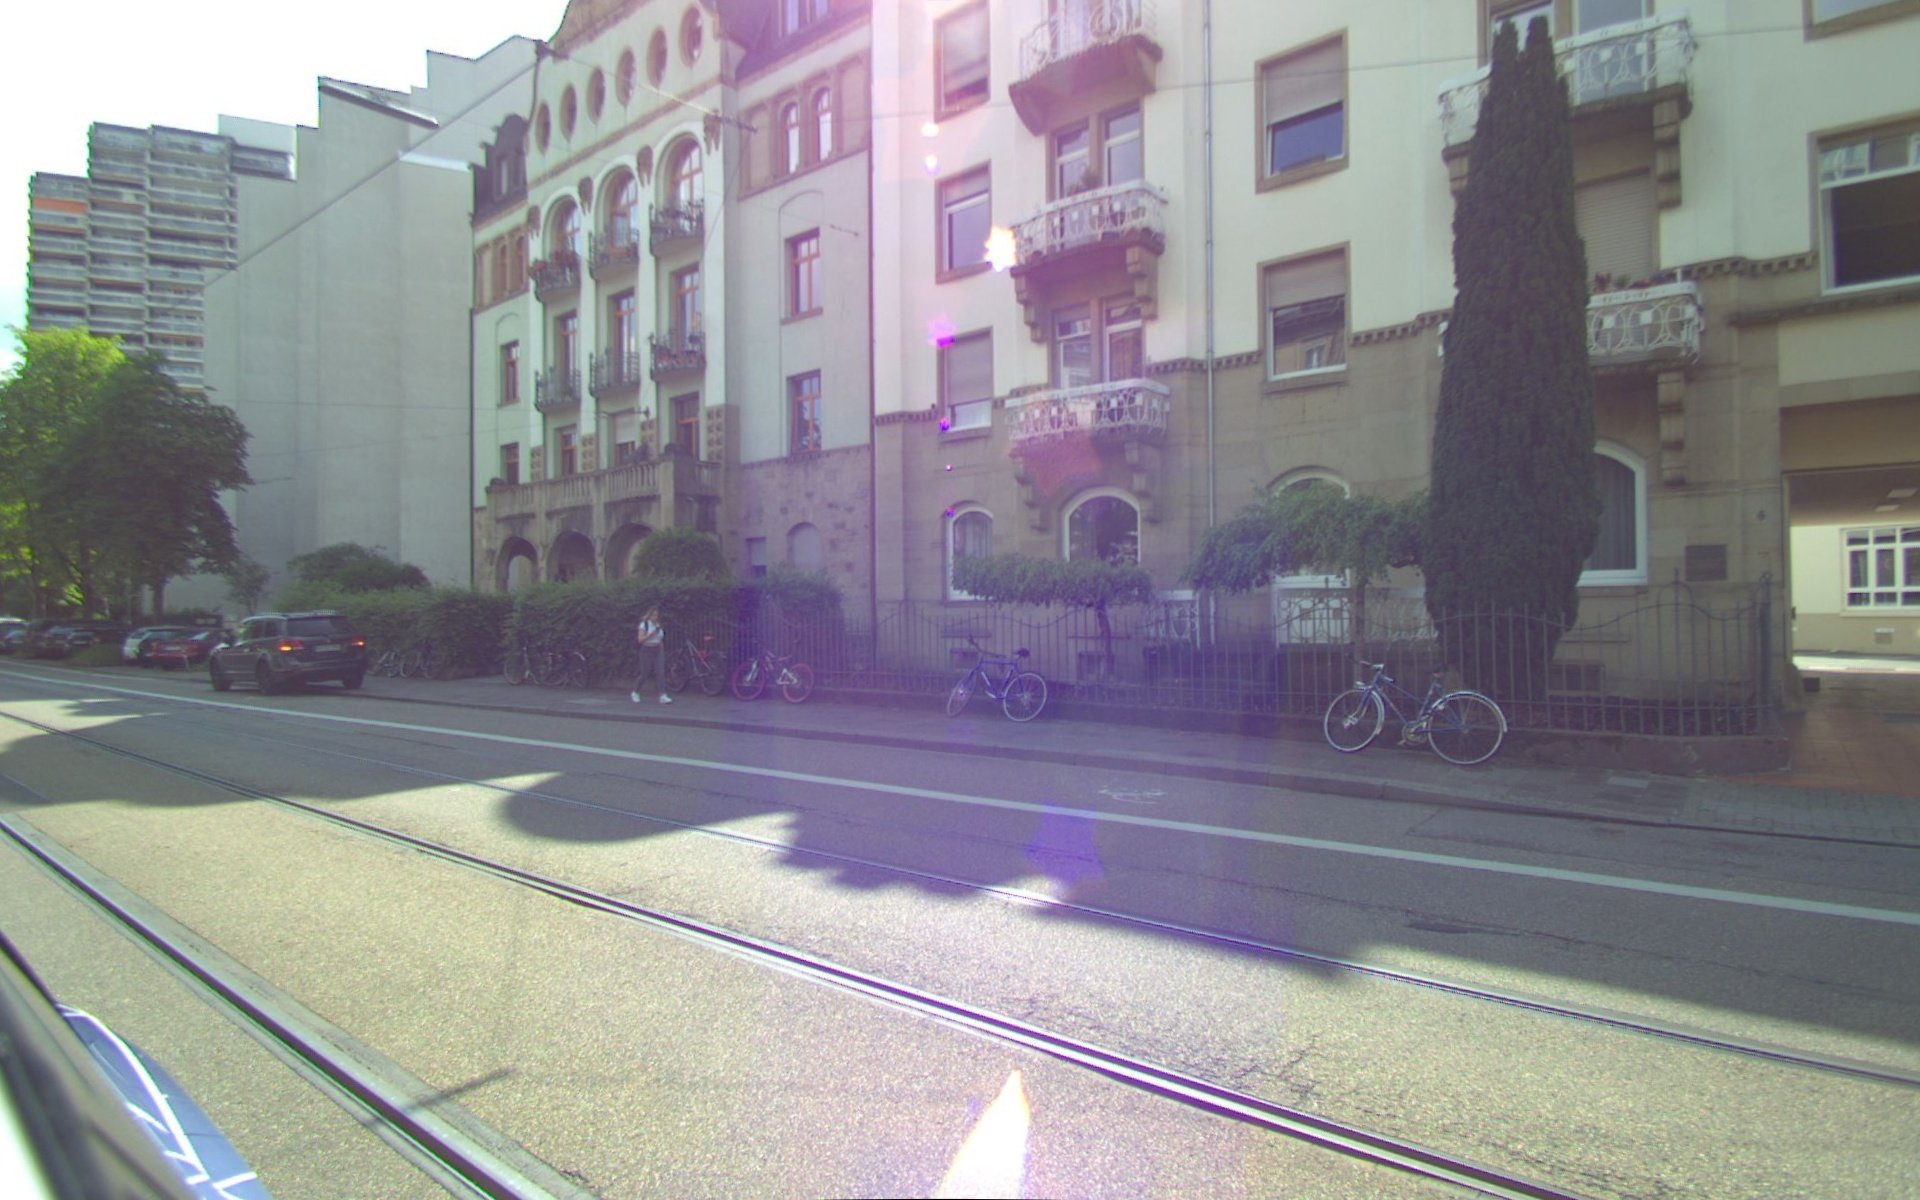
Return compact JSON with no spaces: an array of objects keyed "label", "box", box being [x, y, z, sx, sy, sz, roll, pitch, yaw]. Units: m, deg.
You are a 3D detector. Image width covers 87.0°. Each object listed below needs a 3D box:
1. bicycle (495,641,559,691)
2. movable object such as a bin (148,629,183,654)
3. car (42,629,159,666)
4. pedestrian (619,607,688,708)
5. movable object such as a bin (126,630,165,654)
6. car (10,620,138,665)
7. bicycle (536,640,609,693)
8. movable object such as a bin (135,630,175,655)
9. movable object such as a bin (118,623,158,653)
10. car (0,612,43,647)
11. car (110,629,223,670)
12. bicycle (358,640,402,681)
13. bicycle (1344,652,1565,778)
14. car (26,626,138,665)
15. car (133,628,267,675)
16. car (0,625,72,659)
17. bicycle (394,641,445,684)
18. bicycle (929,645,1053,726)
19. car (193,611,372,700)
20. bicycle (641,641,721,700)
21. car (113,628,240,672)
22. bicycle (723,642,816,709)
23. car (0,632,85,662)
[{"label":"bicycle","box":[-8.999,1.353,21.000,1.920,0.966,0.379,-2,0,41]},{"label":"movable object such as a bin","box":[-44.313,2.316,56.469,1.439,1.337,1.153,-1,-4,38]},{"label":"car","box":[-36.380,2.018,42.985,1.715,1.495,4.003,1,-3,-4]},{"label":"pedestrian","box":[-5.009,0.921,16.540,0.881,1.580,0.673,-1,0,41]},{"label":"movable object such as a bin","box":[-48.182,2.471,59.884,1.535,1.374,1.375,-1,-4,35]},{"label":"car","box":[-41.282,2.000,47.364,1.886,1.969,5.176,1,-3,-7]},{"label":"bicycle","box":[-7.542,1.274,19.664,1.798,0.966,0.447,-2,0,38]},{"label":"movable object such as a bin","box":[-46.859,2.472,58.890,1.535,1.374,1.375,-1,-4,35]},{"label":"movable object such as a bin","box":[-49.539,2.291,60.997,1.535,1.795,1.375,-1,-4,35]},{"label":"car","box":[-56.564,1.732,59.094,1.940,2.012,4.689,0,-1,-3]},{"label":"car","box":[-30.736,1.922,39.358,1.671,1.495,3.812,1,-3,-7]},{"label":"bicycle","box":[-14.662,1.515,25.564,1.809,0.966,0.379,-2,0,41]},{"label":"bicycle","box":[4.633,1.034,9.580,0.505,0.966,1.816,-3,3,-44]},{"label":"car","box":[-38.884,2.041,44.965,1.714,1.605,4.005,1,-3,-6]},{"label":"car","box":[-26.162,1.779,35.011,1.818,1.495,3.974,1,-3,-4]},{"label":"car","box":[-48.946,2.222,52.994,1.734,1.706,3.719,1,-3,-5]},{"label":"bicycle","box":[-12.873,1.473,24.095,1.920,0.966,0.379,-2,0,41]},{"label":"bicycle","box":[0.375,1.087,13.154,1.704,0.966,0.422,-2,0,41]},{"label":"car","box":[-15.009,1.170,22.326,4.874,1.776,1.769,-2,-2,37]},{"label":"bicycle","box":[-4.872,1.209,17.601,1.800,0.966,0.379,-2,0,41]},{"label":"car","box":[-28.489,1.843,36.953,1.673,1.495,3.807,1,-3,-1]},{"label":"bicycle","box":[-3.027,1.167,15.937,1.800,0.983,0.379,-2,0,41]},{"label":"car","box":[-46.502,2.375,50.960,1.733,1.428,4.006,1,-3,-7]}]
